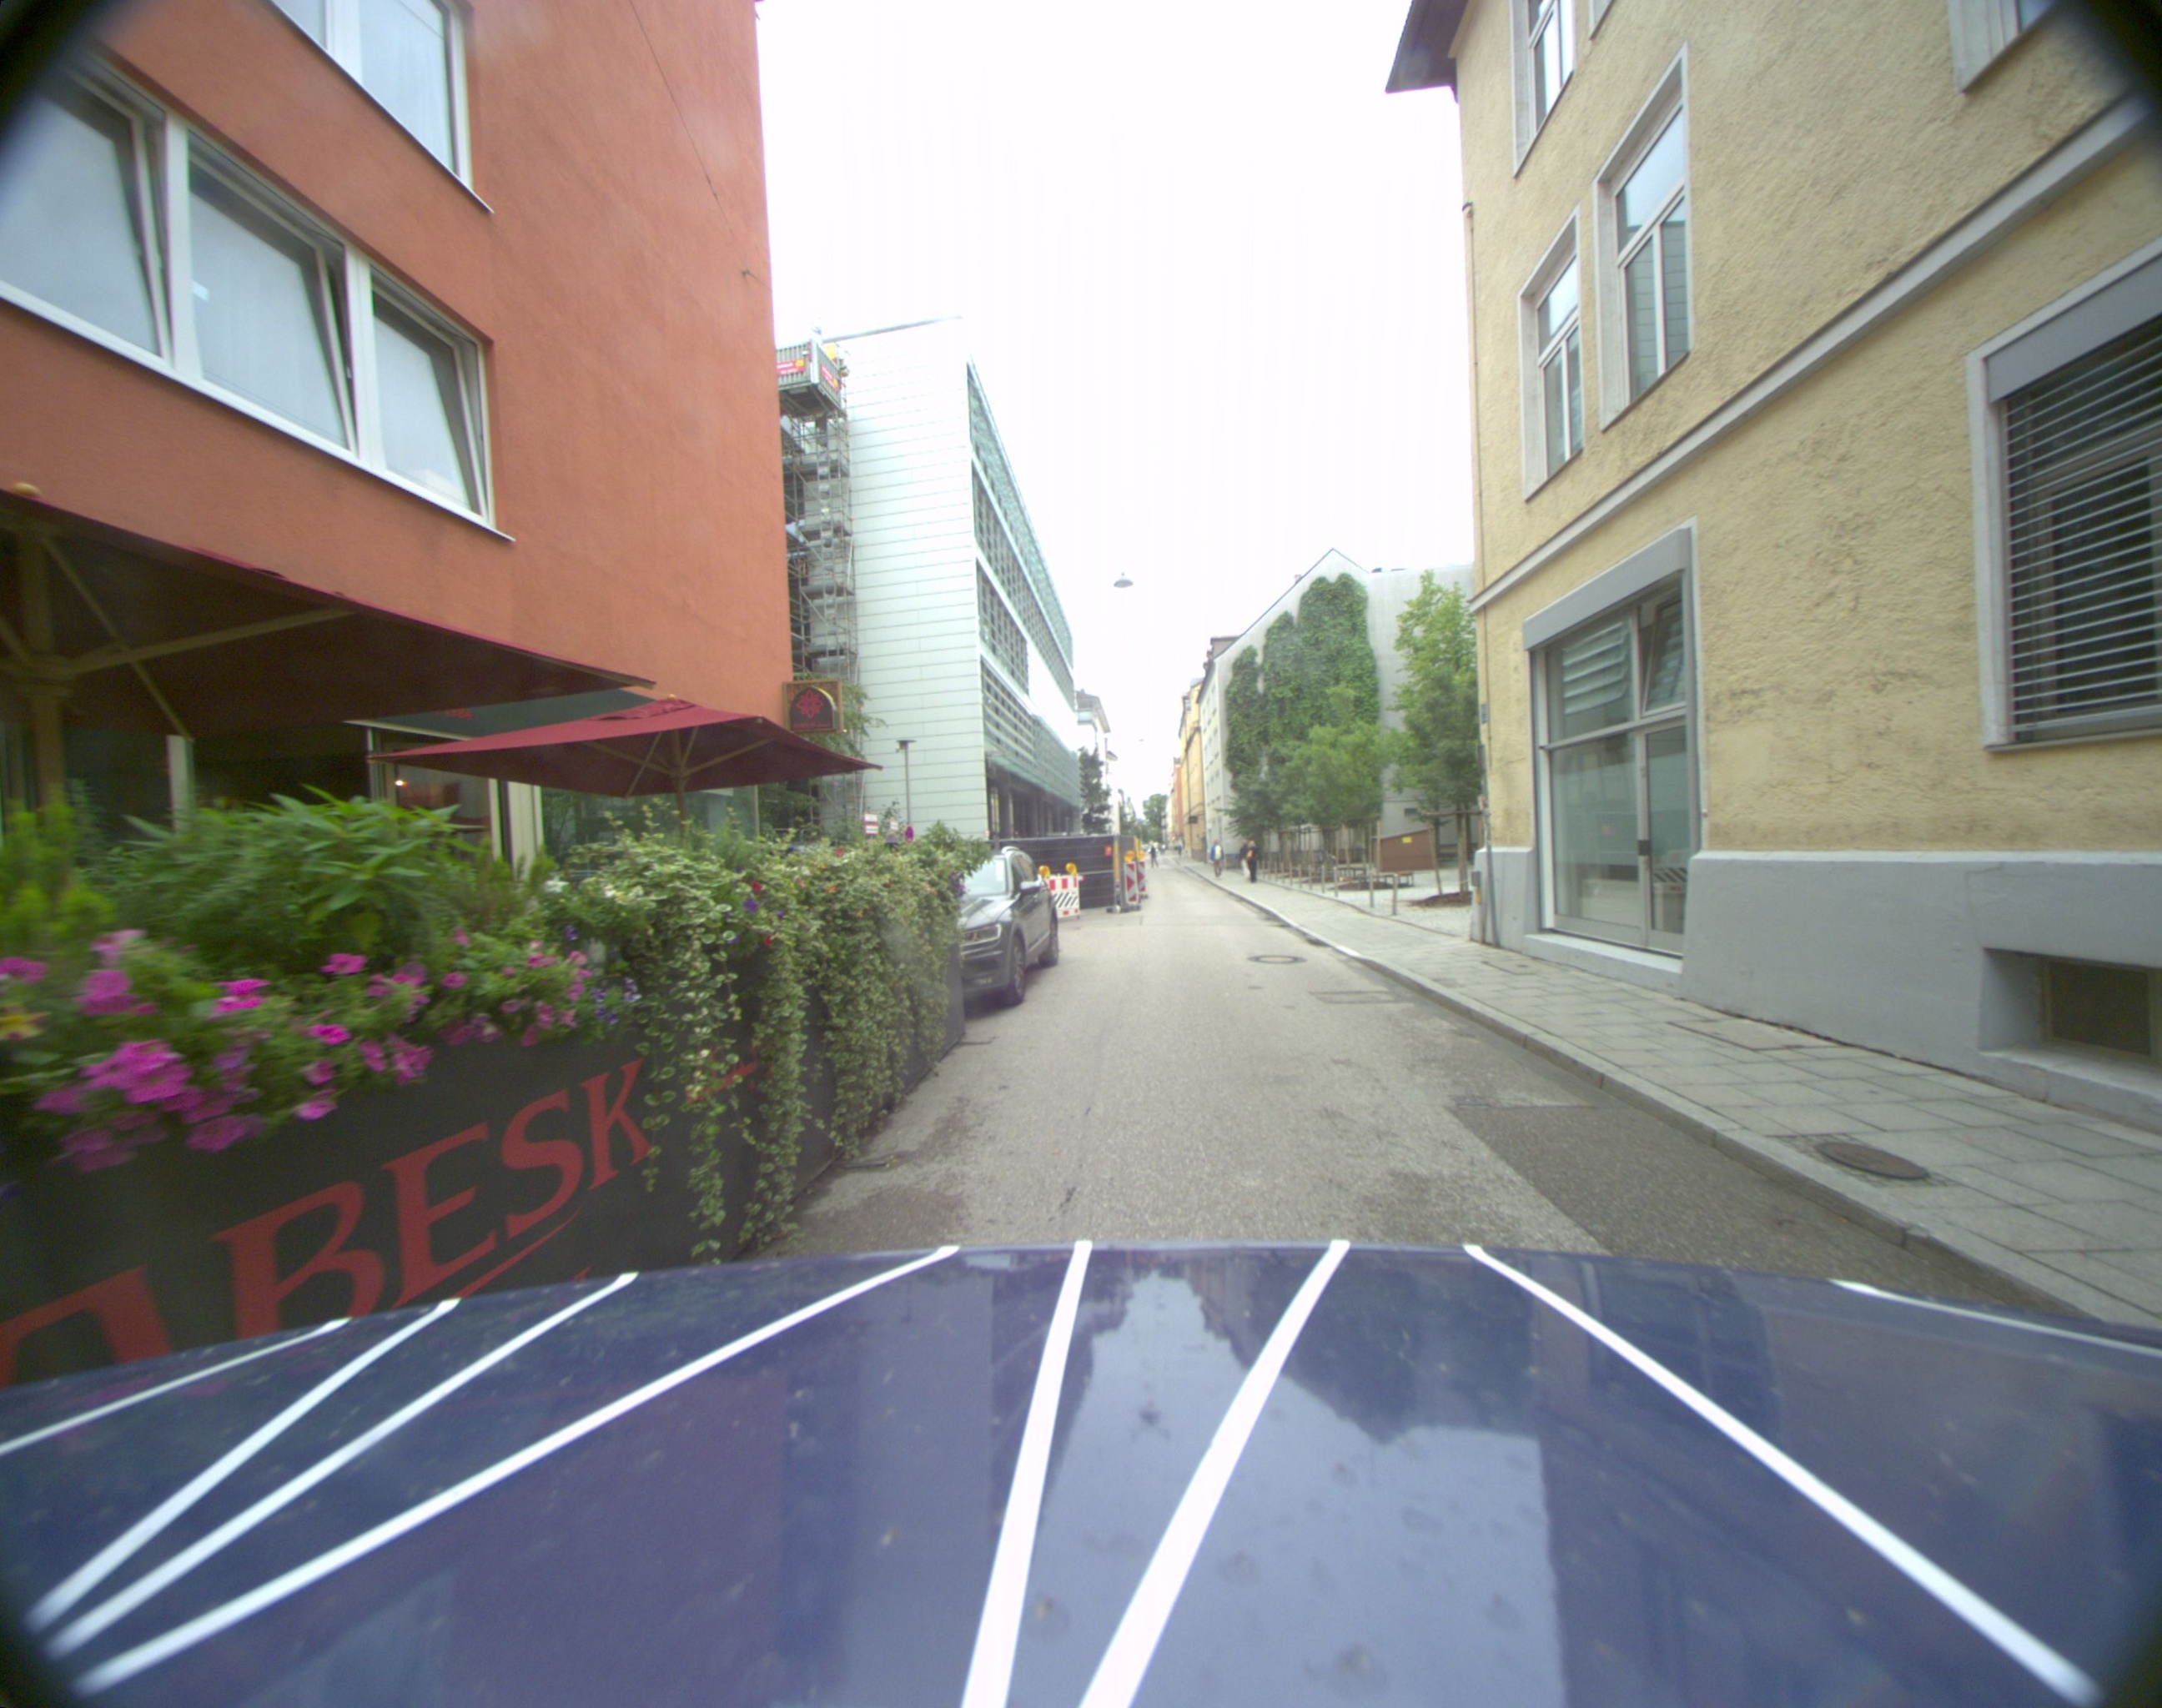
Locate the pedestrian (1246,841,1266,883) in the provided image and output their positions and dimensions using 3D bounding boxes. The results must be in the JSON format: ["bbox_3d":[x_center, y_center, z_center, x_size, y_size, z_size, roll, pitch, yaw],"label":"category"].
[{"bbox_3d":[7.004,0.307,30.439,0.553,1.650,0.998,-3,1,5],"label":"pedestrian"}]

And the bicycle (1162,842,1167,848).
[{"bbox_3d":[13.789,-1.486,124.942,0.700,0.977,1.949,-3,1,5],"label":"bicycle"}]

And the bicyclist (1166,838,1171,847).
[{"bbox_3d":[14.635,-1.971,127.305,0.718,1.400,0.966,-3,1,4],"label":"bicyclist"}]

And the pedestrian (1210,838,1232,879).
[{"bbox_3d":[6.495,0.207,35.336,0.860,1.834,0.974,-4,1,7],"label":"pedestrian"}]

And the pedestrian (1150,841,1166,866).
[{"bbox_3d":[6.153,-0.023,60.713,0.746,1.892,0.877,-4,1,-27],"label":"pedestrian"}]

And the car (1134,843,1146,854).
[{"bbox_3d":[9.334,-0.829,119.425,1.793,1.550,4.001,-3,1,5],"label":"car"}]

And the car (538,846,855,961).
[{"bbox_3d":[-6.443,0.797,13.027,4.471,1.710,1.841,-2,1,5],"label":"car"}]

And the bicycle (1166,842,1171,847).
[{"bbox_3d":[14.647,-1.605,127.330,0.700,0.926,1.694,-3,1,5],"label":"bicycle"}]

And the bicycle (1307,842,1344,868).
[{"bbox_3d":[11.909,0.056,37.061,0.714,1.202,1.996,-4,1,-12],"label":"bicycle"}]

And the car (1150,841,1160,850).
[{"bbox_3d":[14.463,-1.723,148.828,1.998,1.583,4.376,-3,1,5],"label":"car"}]

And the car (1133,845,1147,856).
[{"bbox_3d":[7.516,-0.459,96.913,1.624,1.259,4.330,-3,1,5],"label":"car"}]

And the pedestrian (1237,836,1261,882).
[{"bbox_3d":[6.968,0.193,31.549,0.777,1.826,0.992,-3,1,5],"label":"pedestrian"}]

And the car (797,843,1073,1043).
[{"bbox_3d":[-1.348,0.781,8.968,1.828,1.700,4.390,-4,1,7],"label":"car"}]

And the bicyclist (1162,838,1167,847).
[{"bbox_3d":[13.767,-1.911,124.845,0.700,1.400,0.768,-3,1,4],"label":"bicyclist"}]

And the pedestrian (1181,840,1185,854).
[{"bbox_3d":[13.333,-0.967,99.532,0.493,1.814,0.553,-2,1,5],"label":"pedestrian"}]
